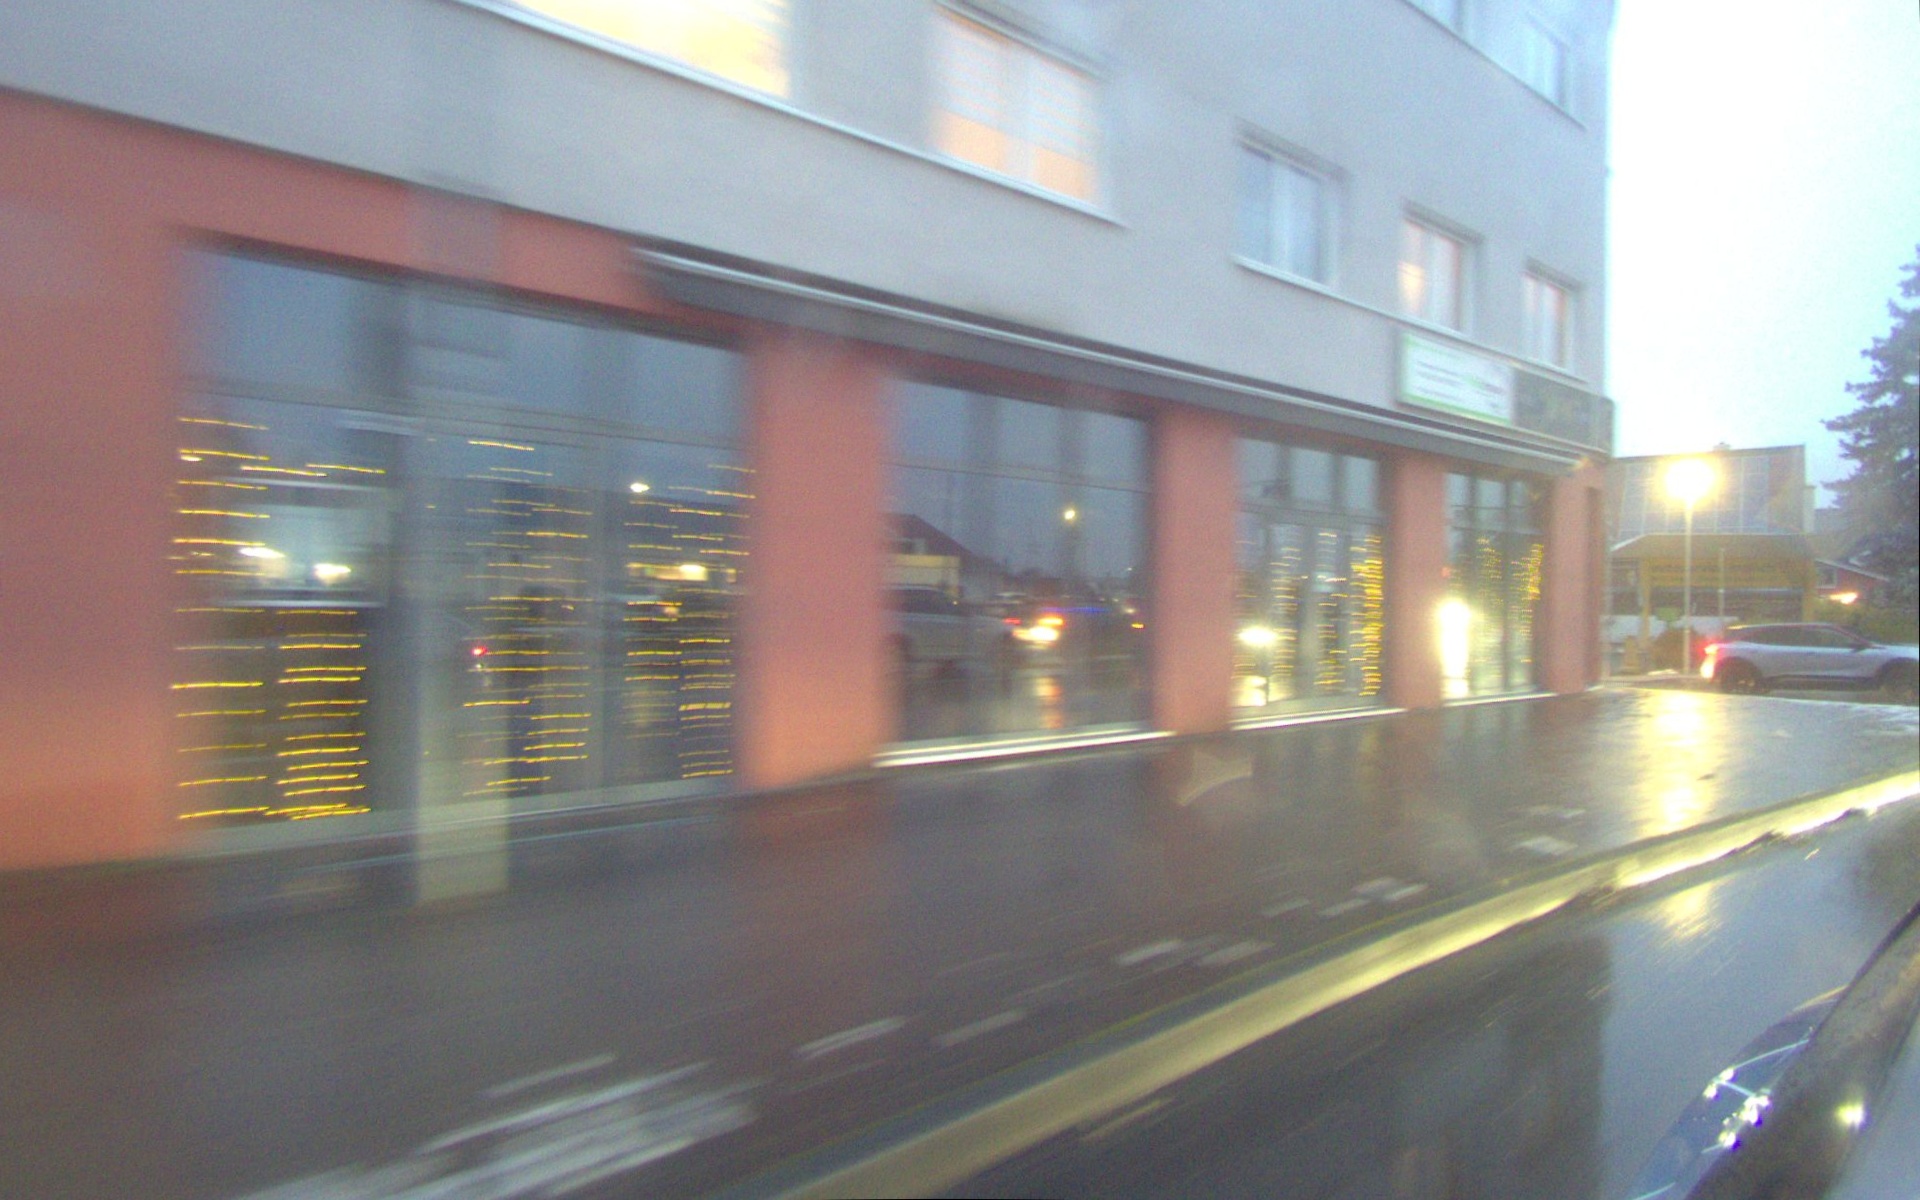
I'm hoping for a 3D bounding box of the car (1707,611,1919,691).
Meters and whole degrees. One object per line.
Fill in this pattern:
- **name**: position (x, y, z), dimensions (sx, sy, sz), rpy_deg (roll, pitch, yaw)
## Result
- **car**: position (17.369, 0.996, 19.732), dimensions (1.765, 1.460, 4.178), rpy_deg (2, -4, -39)
